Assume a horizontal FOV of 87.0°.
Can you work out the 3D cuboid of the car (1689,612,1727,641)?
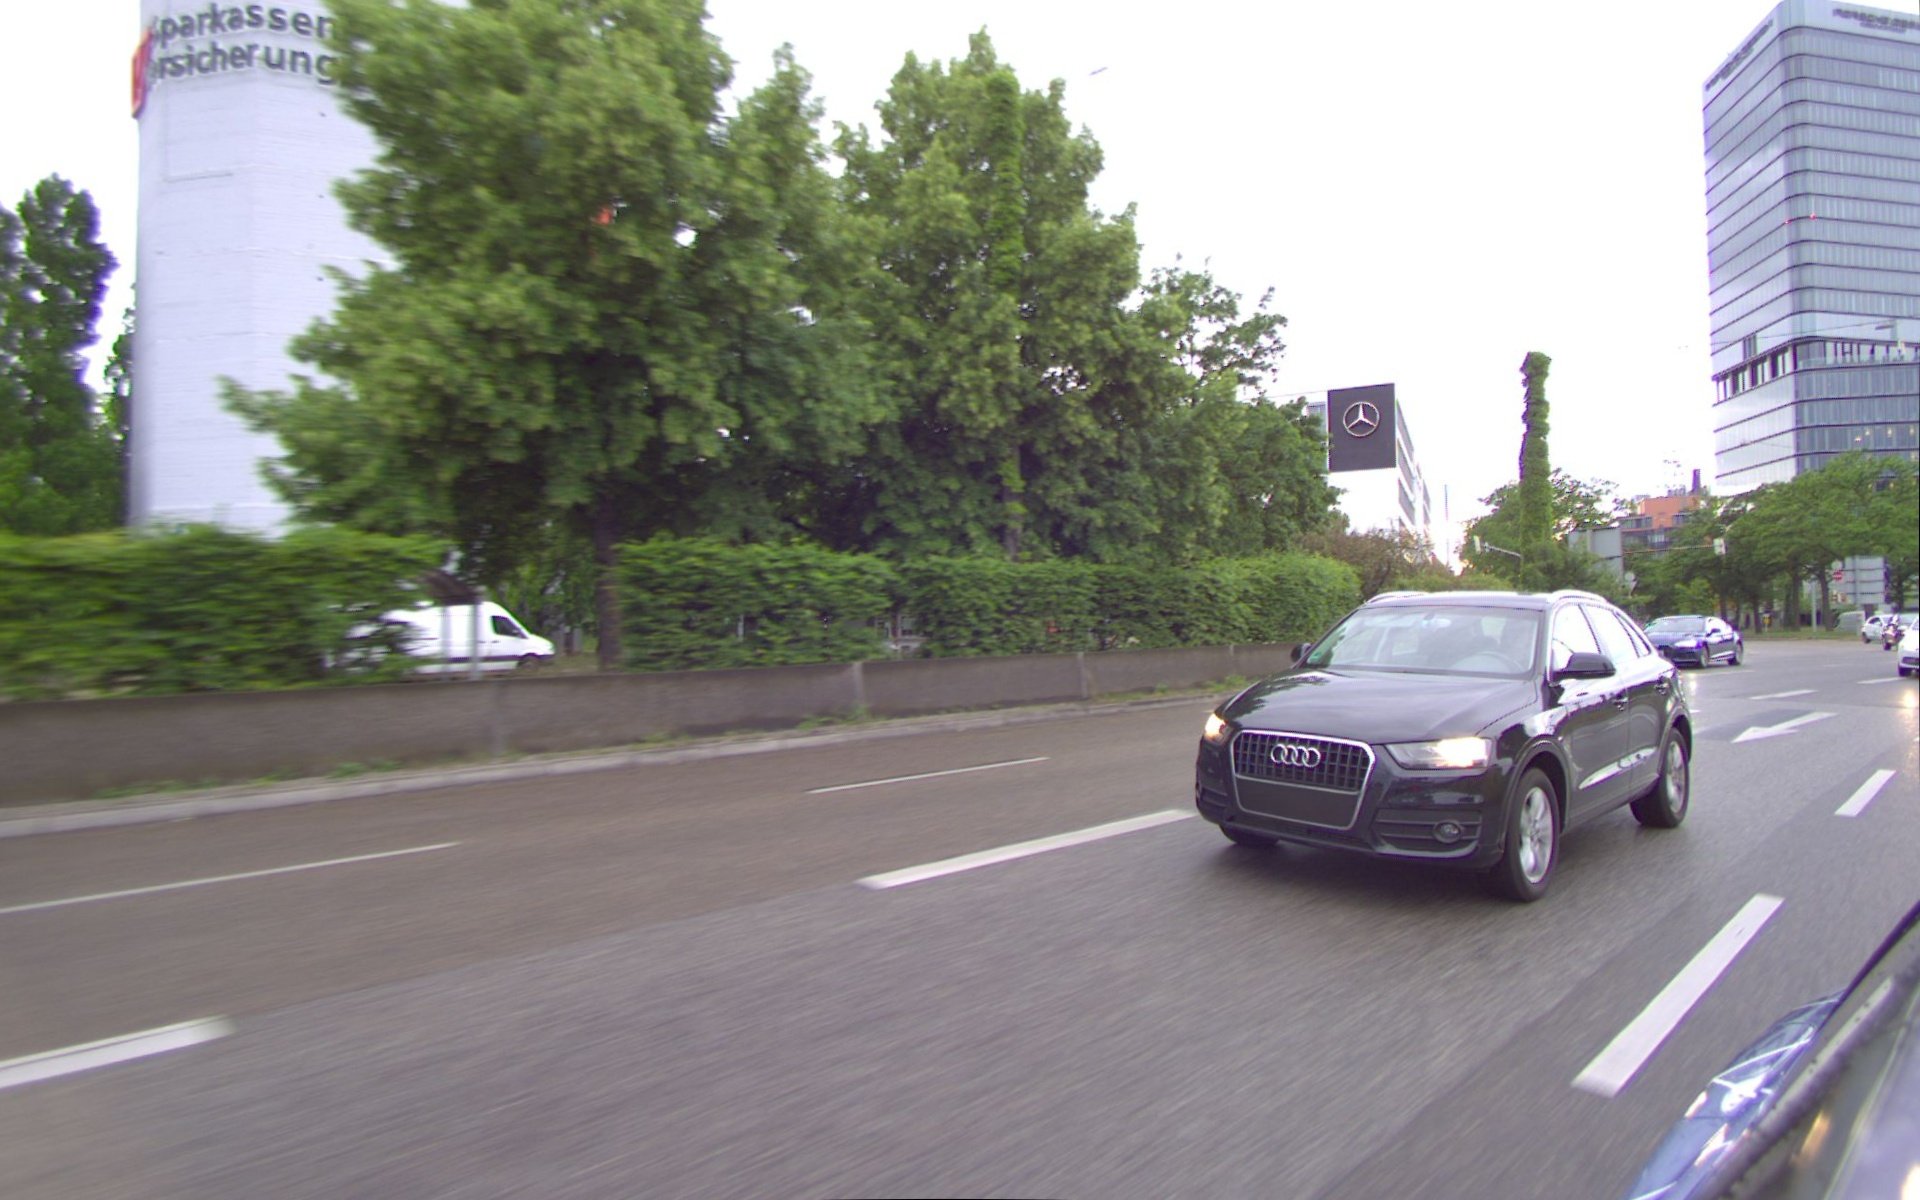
[{"bbox_3d":[56.334,1.978,76.311,1.596,2.039,3.599,-2,-1,26],"label":"car"}]

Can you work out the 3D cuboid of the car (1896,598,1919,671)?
[{"bbox_3d":[21.619,0.657,21.519,4.184,1.491,1.729,0,-3,-37],"label":"car"}]

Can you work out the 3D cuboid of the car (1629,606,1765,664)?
[{"bbox_3d":[19.847,0.914,27.214,3.924,1.416,1.759,0,-1,-35],"label":"car"}]

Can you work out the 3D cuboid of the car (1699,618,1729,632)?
[{"bbox_3d":[83.156,2.747,111.602,1.663,1.504,3.762,-2,-2,22],"label":"car"}]

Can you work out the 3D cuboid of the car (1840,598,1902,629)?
[{"bbox_3d":[78.933,1.199,87.751,1.906,2.618,5.424,-2,-2,19],"label":"car"}]

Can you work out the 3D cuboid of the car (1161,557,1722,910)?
[{"bbox_3d":[3.252,0.616,6.460,4.054,1.554,1.728,0,-2,-41],"label":"car"}]
